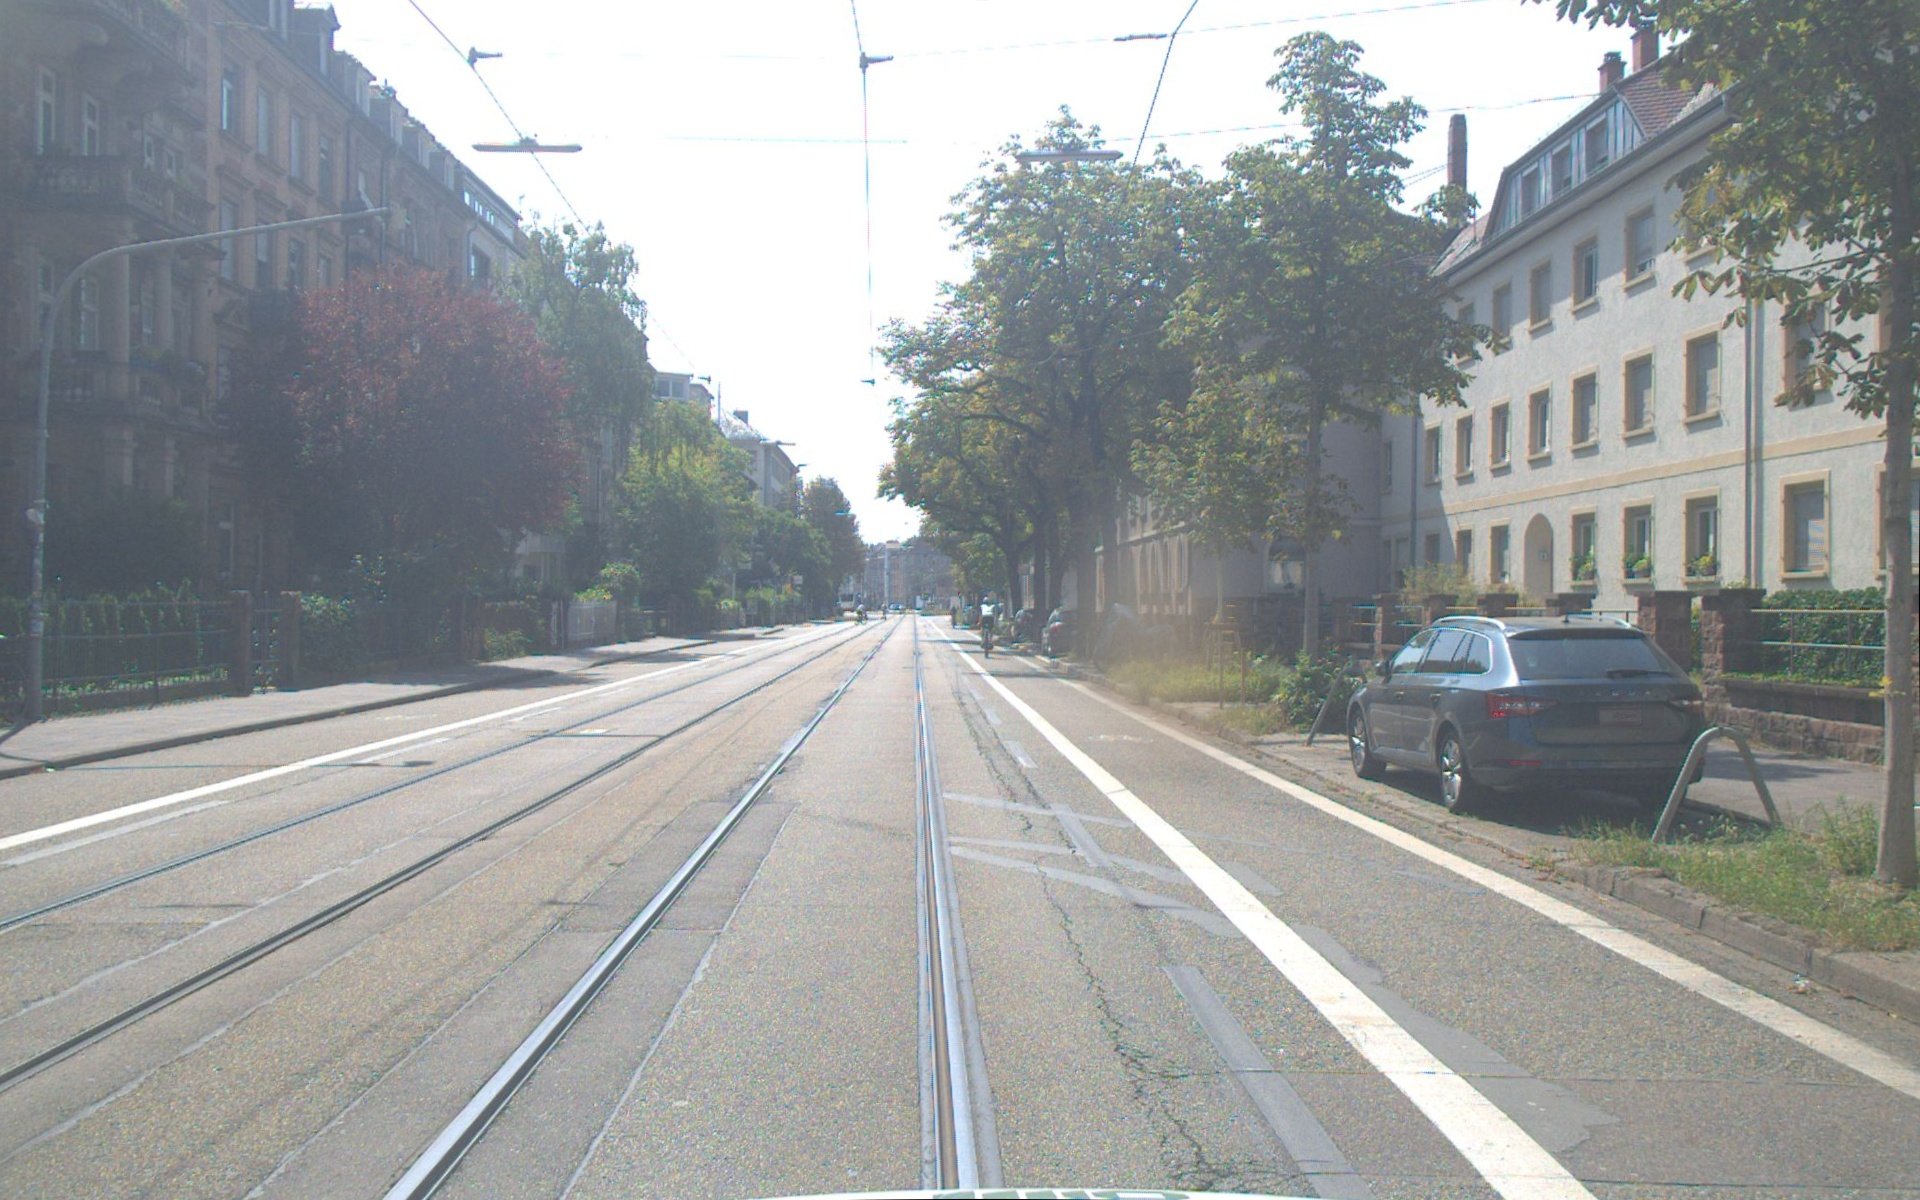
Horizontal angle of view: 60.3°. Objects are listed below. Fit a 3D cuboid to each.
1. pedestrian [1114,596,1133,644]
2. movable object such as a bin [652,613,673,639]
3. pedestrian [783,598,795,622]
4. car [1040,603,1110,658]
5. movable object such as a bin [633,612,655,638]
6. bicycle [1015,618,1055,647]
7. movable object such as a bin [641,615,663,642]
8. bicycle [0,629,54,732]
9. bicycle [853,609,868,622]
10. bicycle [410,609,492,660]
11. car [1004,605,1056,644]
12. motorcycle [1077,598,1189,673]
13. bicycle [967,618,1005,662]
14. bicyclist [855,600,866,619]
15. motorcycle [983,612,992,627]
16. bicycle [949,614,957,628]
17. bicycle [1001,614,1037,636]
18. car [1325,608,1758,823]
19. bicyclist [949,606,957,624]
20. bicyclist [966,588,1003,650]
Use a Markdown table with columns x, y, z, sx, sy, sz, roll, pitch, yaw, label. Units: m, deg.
| x | y | z | sx | sy | sz | roll | pitch | yaw | label |
| --- | --- | --- | --- | --- | --- | --- | --- | --- | --- |
| 6.548 | 0.794 | 66.333 | 0.692 | 1.925 | 0.714 | 0 | -1 | 0 | pedestrian |
| -13.185 | 1.148 | 73.312 | 0.770 | 1.094 | 0.803 | 1 | -1 | 1 | movable object such as a bin |
| -12.905 | 0.733 | 124.950 | 0.764 | 1.787 | 1.040 | 0 | -1 | -1 | pedestrian |
| 3.580 | 0.926 | 52.152 | 1.803 | 1.559 | 4.113 | 0 | 1 | -2 | car |
| -13.985 | 1.108 | 73.270 | 0.770 | 1.094 | 0.803 | 1 | -1 | 1 | movable object such as a bin |
| 2.968 | 1.298 | 65.494 | 1.572 | 1.123 | 0.399 | 1 | -1 | 5 | bicycle |
| -12.887 | 1.183 | 69.279 | 0.771 | 1.094 | 0.754 | 2 | -1 | -4 | movable object such as a bin |
| -10.860 | 0.905 | 18.769 | 0.382 | 1.118 | 1.567 | 0 | 0 | -4 | bicycle |
| -7.653 | 1.202 | 127.044 | 0.742 | 1.008 | 2.299 | 0 | -1 | 6 | bicycle |
| -12.621 | 0.854 | 41.012 | 1.775 | 1.202 | 0.716 | 2 | -1 | 0 | bicycle |
| 2.930 | 1.019 | 69.703 | 1.803 | 1.559 | 4.777 | -1 | 0 | -2 | car |
| 3.807 | 0.798 | 36.471 | 2.302 | 1.567 | 0.964 | -3 | -3 | 40 | motorcycle |
| 0.776 | 1.203 | 50.882 | 1.124 | 1.291 | 2.712 | 0 | 0 | 0 | bicycle |
| -7.654 | 0.731 | 126.994 | 0.742 | 1.416 | 0.779 | 0 | -1 | 6 | bicyclist |
| 2.047 | 1.446 | 121.803 | 0.538 | 1.086 | 2.329 | 0 | -1 | -1 | motorcycle |
| -0.482 | 1.504 | 117.925 | 0.576 | 0.955 | 2.172 | 0 | -1 | 1 | bicycle |
| 2.850 | 1.202 | 79.896 | 1.678 | 1.050 | 0.566 | 0 | -1 | -1 | bicycle |
| 4.642 | 0.827 | 14.098 | 1.854 | 1.503 | 4.838 | 0 | 0 | -2 | car |
| -0.486 | 1.084 | 117.840 | 0.567 | 1.301 | 0.471 | 0 | -1 | 1 | bicyclist |
| 0.758 | 0.587 | 50.970 | 1.102 | 1.869 | 0.955 | 0 | -1 | -1 | bicyclist |
